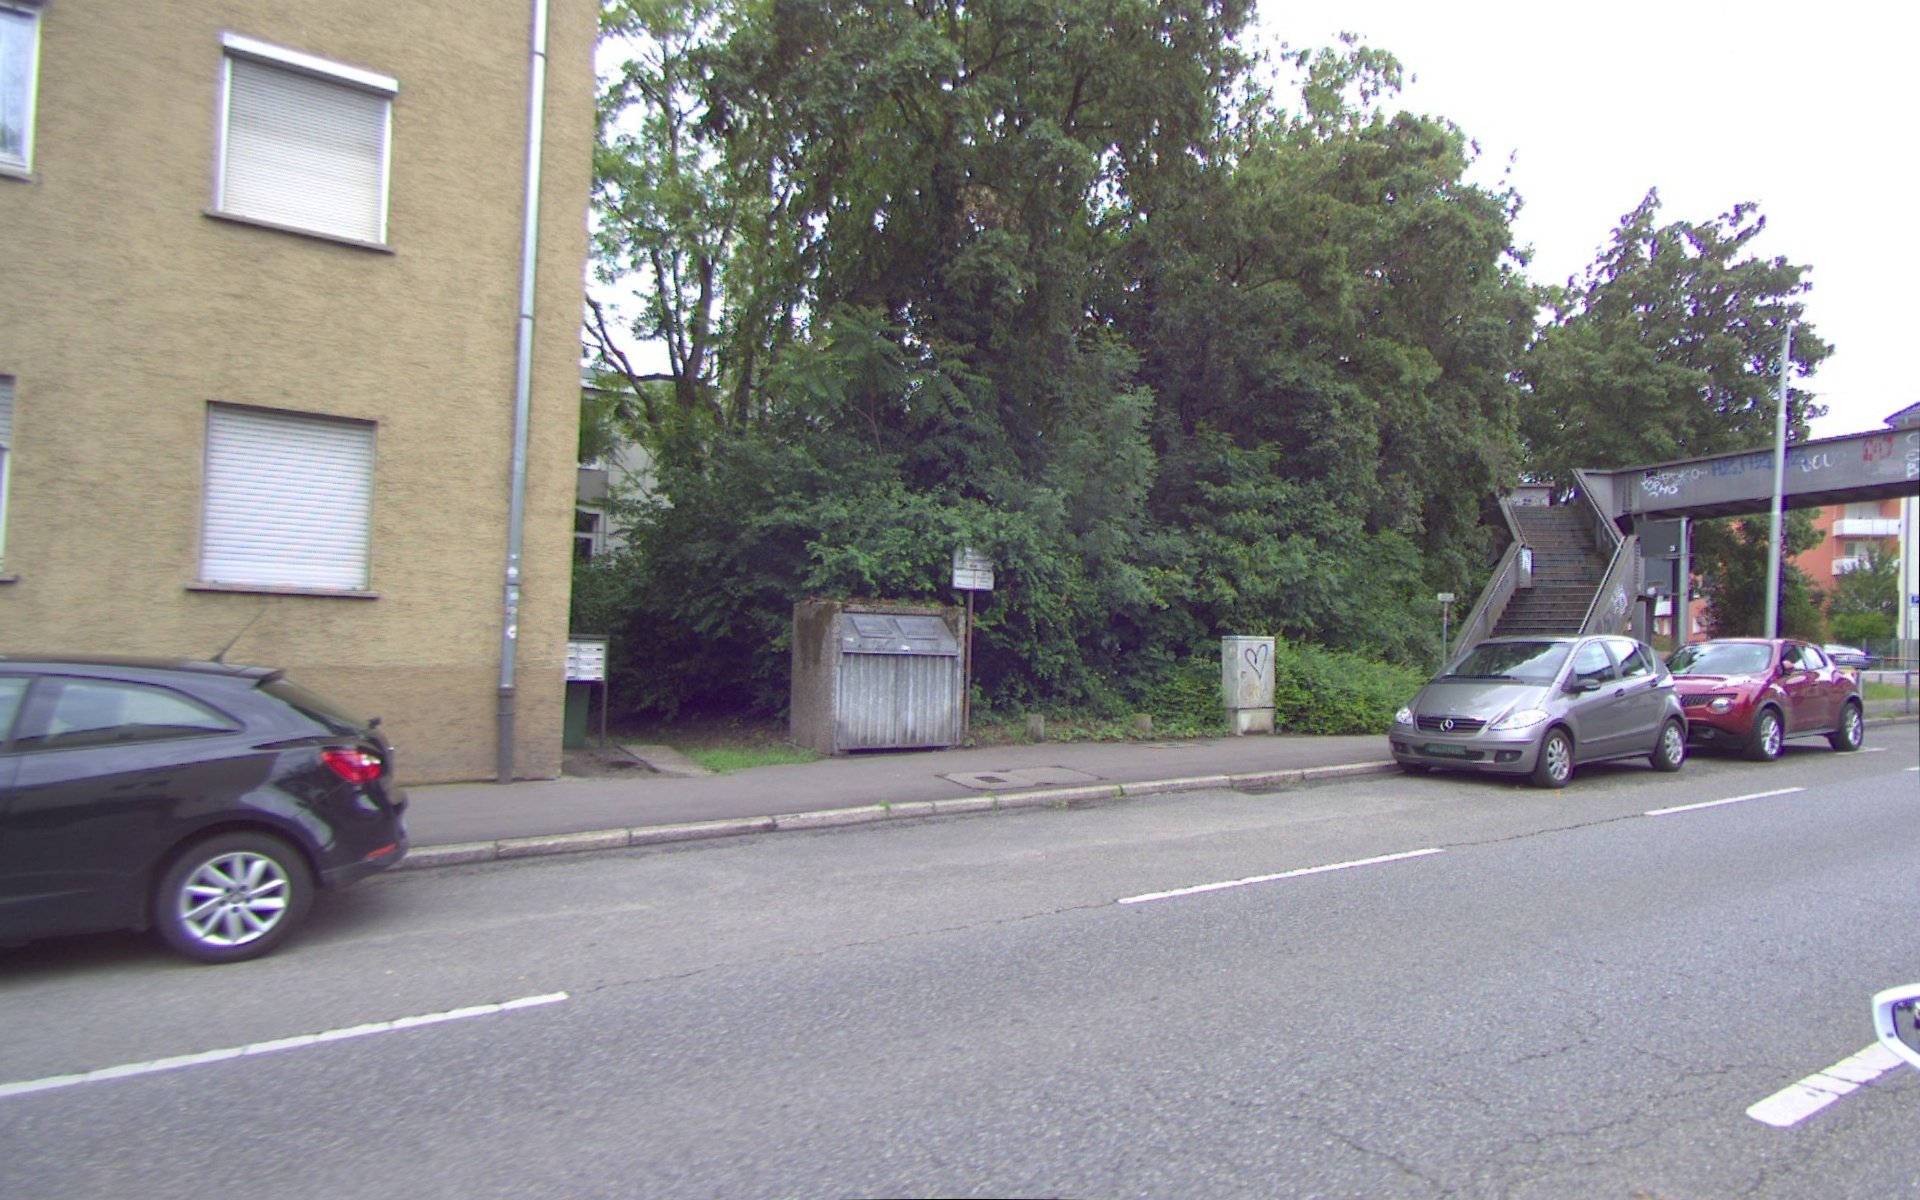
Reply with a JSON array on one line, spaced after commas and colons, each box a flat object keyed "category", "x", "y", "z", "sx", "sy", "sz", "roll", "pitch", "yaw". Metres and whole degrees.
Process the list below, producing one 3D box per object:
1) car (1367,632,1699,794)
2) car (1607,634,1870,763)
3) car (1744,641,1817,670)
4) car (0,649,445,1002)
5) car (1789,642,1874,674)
[{"category": "car", "x": 6.694, "y": 1.191, "z": 11.648, "sx": 3.865, "sy": 1.589, "sz": 1.736, "roll": 2, "pitch": -3, "yaw": -32}, {"category": "car", "x": 10.782, "y": 1.268, "z": 13.857, "sx": 3.936, "sy": 1.560, "sz": 1.526, "roll": 1, "pitch": -3, "yaw": -31}, {"category": "car", "x": 46.207, "y": 3.107, "z": 56.637, "sx": 1.771, "sy": 1.530, "sz": 4.002, "roll": 0, "pitch": -2, "yaw": 17}, {"category": "car", "x": -4.683, "y": 0.972, "z": 4.792, "sx": 3.868, "sy": 1.458, "sz": 1.737, "roll": 1, "pitch": -3, "yaw": -31}, {"category": "car", "x": 44.553, "y": 2.942, "z": 51.465, "sx": 1.771, "sy": 1.530, "sz": 4.002, "roll": 0, "pitch": -2, "yaw": 17}]
